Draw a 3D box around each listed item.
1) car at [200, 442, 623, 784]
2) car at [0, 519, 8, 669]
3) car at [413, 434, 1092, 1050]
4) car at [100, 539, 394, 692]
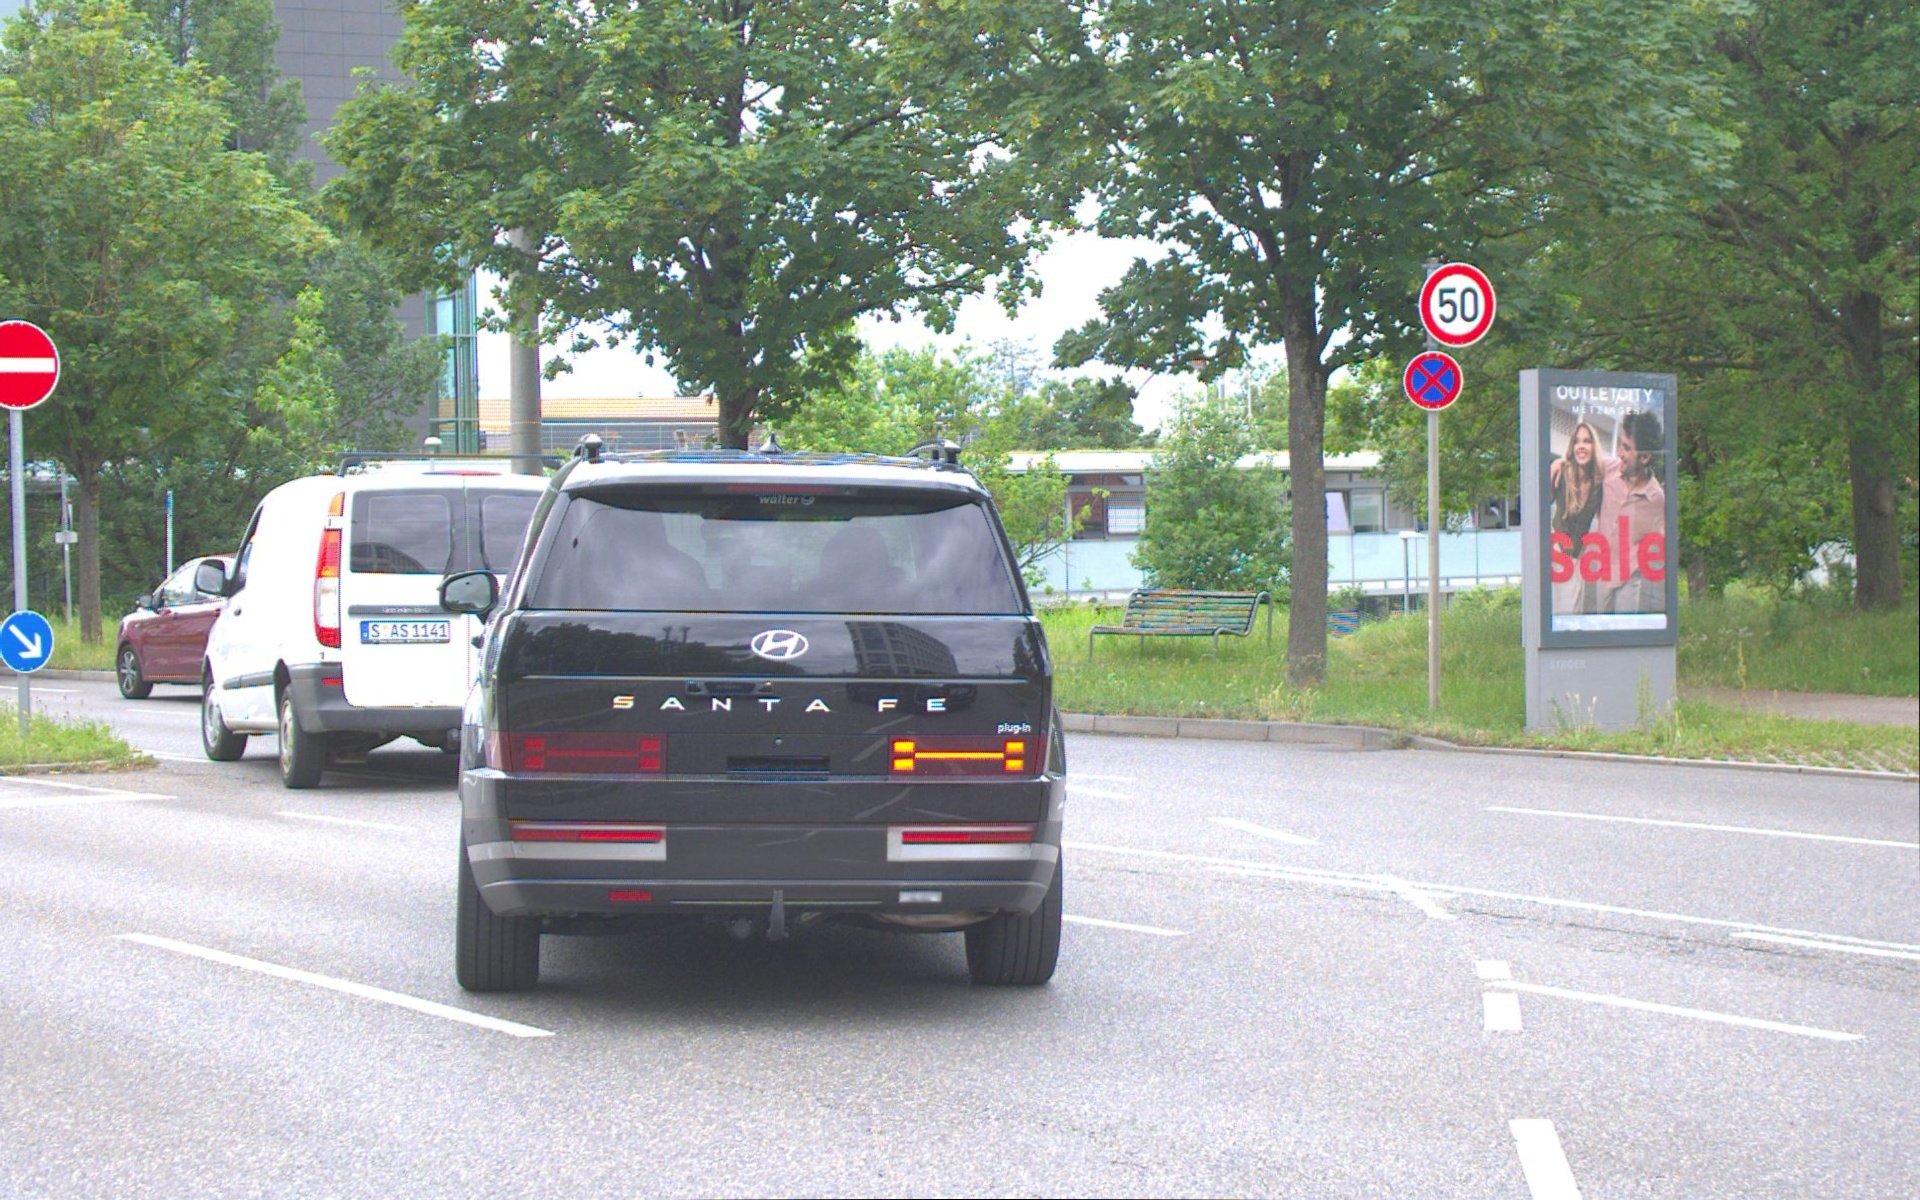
[{"bbox_3d":[-3.662,0.038,22.220,1.901,1.962,4.637,0,1,-19],"label":"car"},{"bbox_3d":[-13.892,-0.108,44.073,1.902,1.853,4.709,0,1,-33],"label":"car"},{"bbox_3d":[-0.728,0.370,11.905,1.902,1.725,4.447,0,1,-4],"label":"car"},{"bbox_3d":[-7.340,0.111,35.171,1.745,1.476,3.718,-1,1,-32],"label":"car"}]
